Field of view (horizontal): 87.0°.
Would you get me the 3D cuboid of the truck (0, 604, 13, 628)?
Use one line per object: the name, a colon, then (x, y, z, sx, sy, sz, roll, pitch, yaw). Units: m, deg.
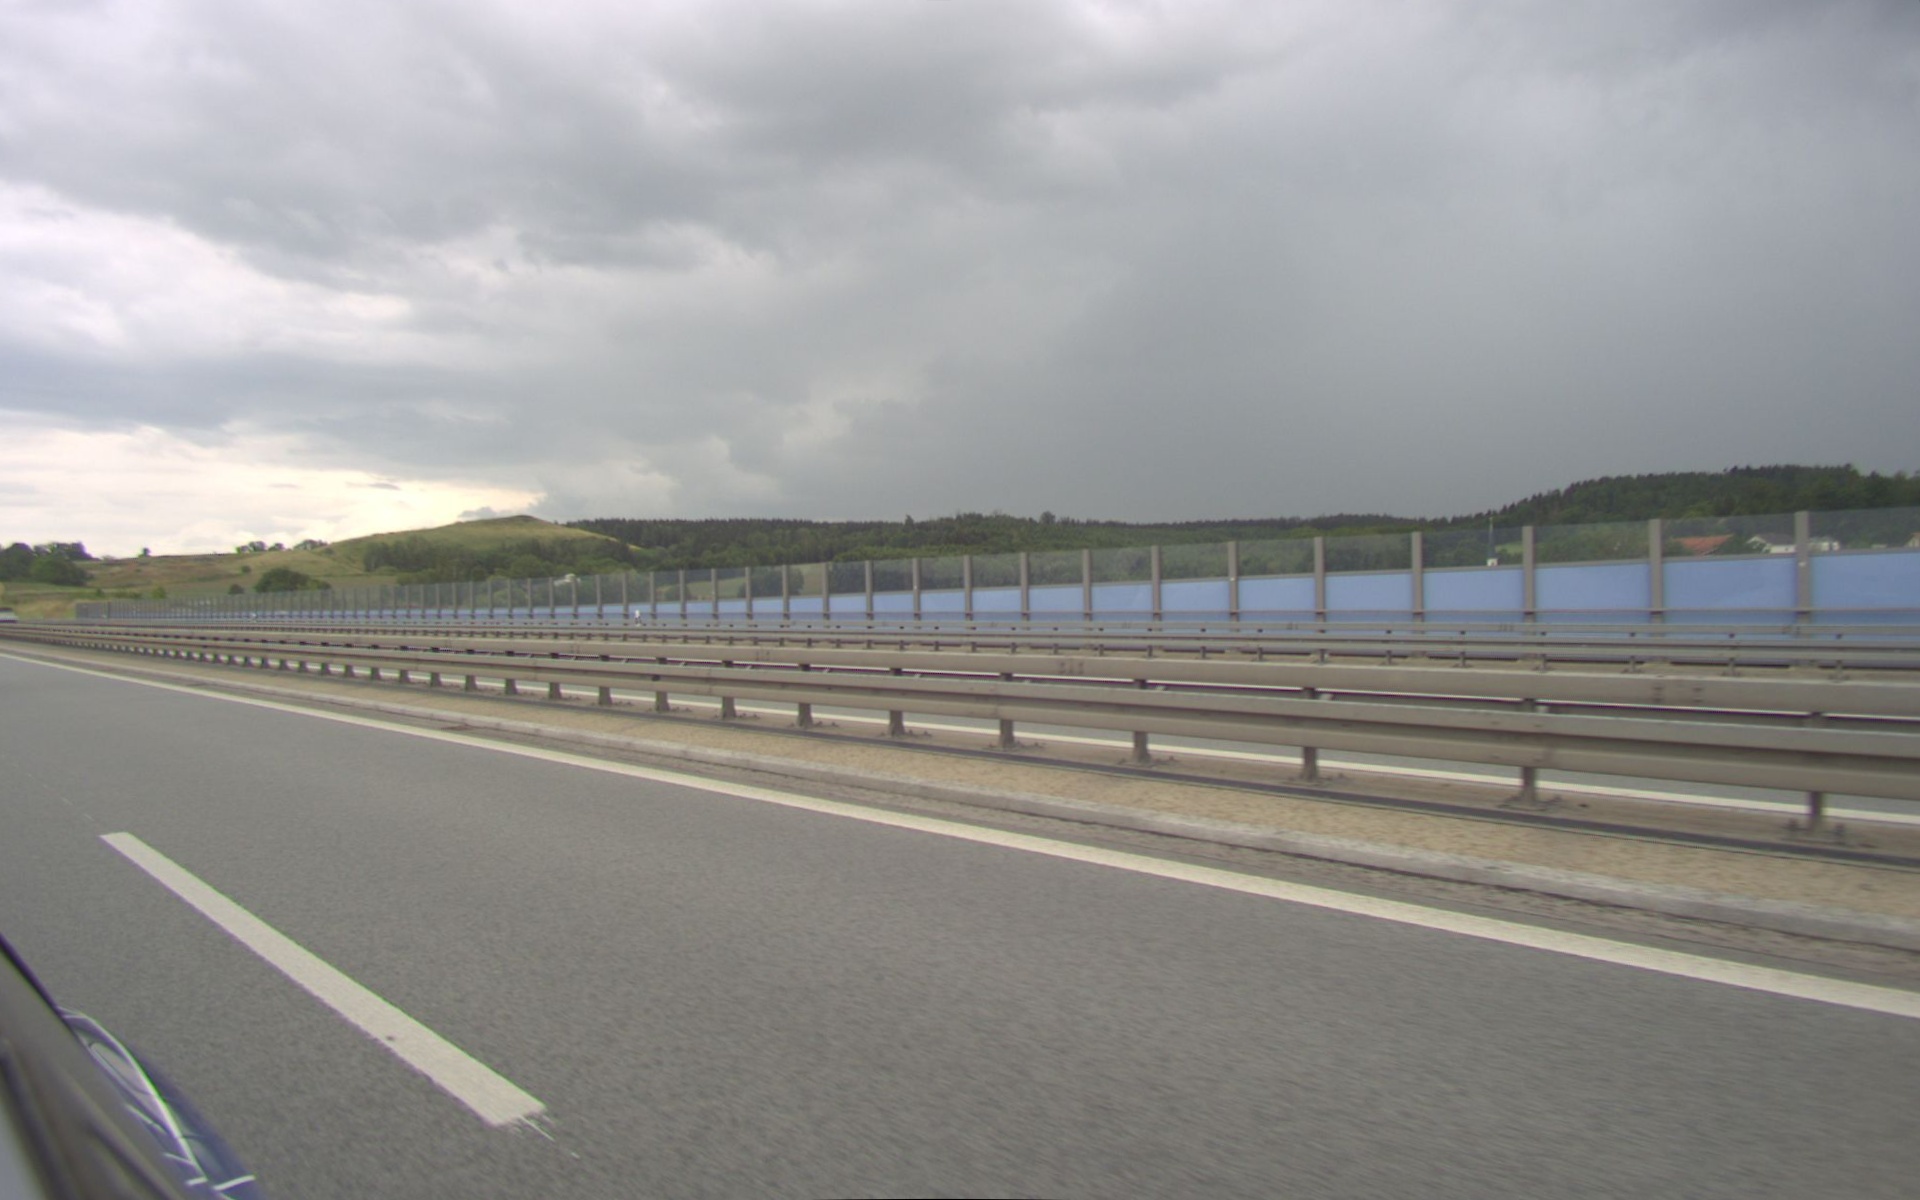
truck: (-103.013, 1.704, 107.946, 7.448, 2.450, 2.249, -1, 0, 41)
